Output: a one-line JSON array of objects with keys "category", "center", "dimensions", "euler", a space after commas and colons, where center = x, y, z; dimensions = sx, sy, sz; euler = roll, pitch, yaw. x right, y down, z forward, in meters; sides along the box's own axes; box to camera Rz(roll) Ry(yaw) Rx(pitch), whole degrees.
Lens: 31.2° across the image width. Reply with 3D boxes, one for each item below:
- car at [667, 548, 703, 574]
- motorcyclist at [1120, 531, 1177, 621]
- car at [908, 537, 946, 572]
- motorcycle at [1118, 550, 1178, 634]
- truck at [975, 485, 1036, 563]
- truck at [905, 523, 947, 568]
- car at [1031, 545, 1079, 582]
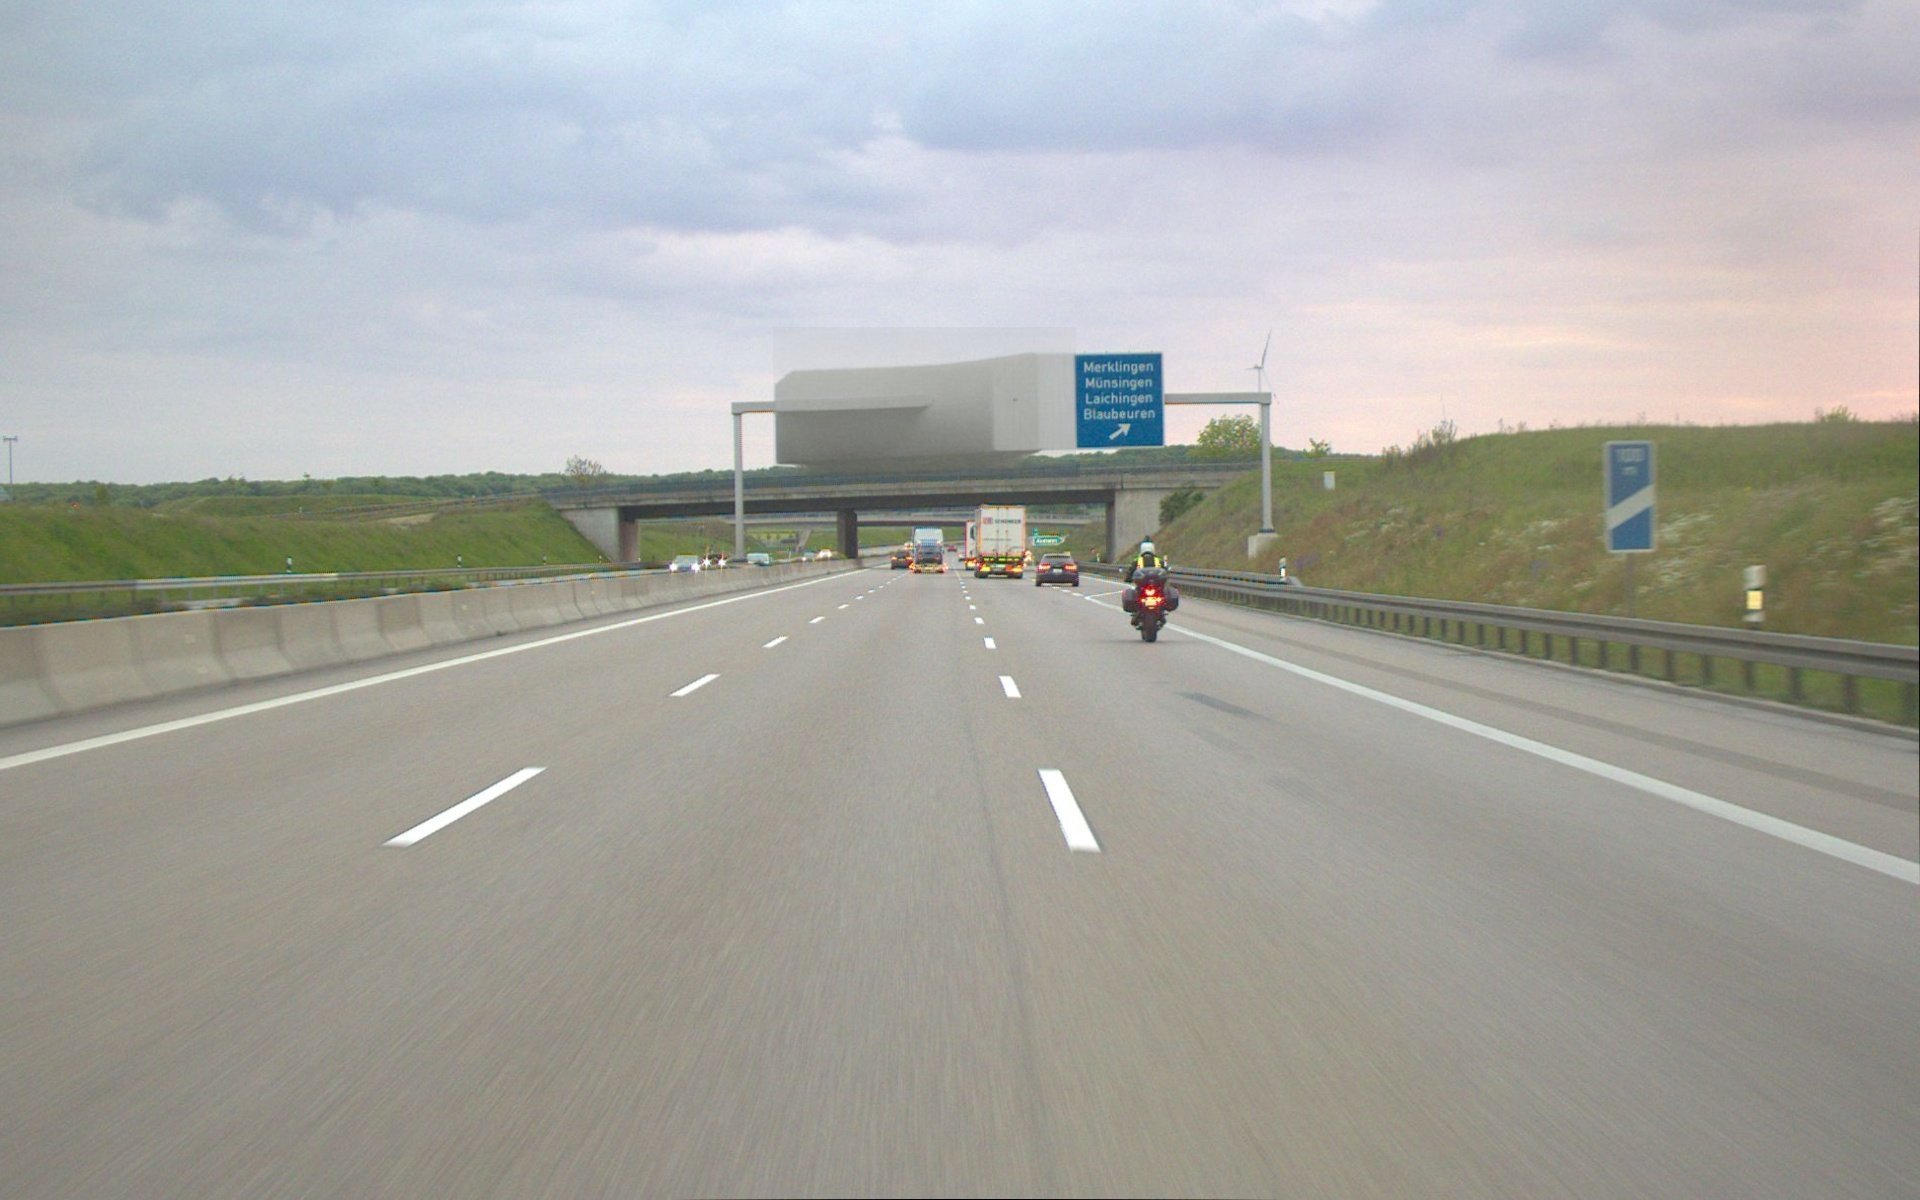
[{"category": "car", "center": [-17.139, -2.468, 214.600], "dimensions": [2.002, 1.582, 4.573], "euler": [0, 1, -2]}, {"category": "motorcyclist", "center": [3.153, -0.407, 57.653], "dimensions": [0.866, 1.482, 1.168], "euler": [1, 1, 0]}, {"category": "car", "center": [-2.301, -3.150, 236.952], "dimensions": [2.516, 2.383, 6.497], "euler": [0, 1, -1]}, {"category": "motorcycle", "center": [3.150, -0.152, 57.821], "dimensions": [0.902, 1.342, 2.349], "euler": [0, 2, 0]}, {"category": "truck", "center": [2.508, -4.299, 192.991], "dimensions": [3.234, 4.213, 9.599], "euler": [1, 1, 0]}, {"category": "truck", "center": [-2.520, -4.056, 253.065], "dimensions": [2.951, 3.206, 8.406], "euler": [1, 1, -1]}, {"category": "car", "center": [4.172, -1.628, 151.457], "dimensions": [1.918, 1.574, 4.000], "euler": [0, 1, -1]}]
